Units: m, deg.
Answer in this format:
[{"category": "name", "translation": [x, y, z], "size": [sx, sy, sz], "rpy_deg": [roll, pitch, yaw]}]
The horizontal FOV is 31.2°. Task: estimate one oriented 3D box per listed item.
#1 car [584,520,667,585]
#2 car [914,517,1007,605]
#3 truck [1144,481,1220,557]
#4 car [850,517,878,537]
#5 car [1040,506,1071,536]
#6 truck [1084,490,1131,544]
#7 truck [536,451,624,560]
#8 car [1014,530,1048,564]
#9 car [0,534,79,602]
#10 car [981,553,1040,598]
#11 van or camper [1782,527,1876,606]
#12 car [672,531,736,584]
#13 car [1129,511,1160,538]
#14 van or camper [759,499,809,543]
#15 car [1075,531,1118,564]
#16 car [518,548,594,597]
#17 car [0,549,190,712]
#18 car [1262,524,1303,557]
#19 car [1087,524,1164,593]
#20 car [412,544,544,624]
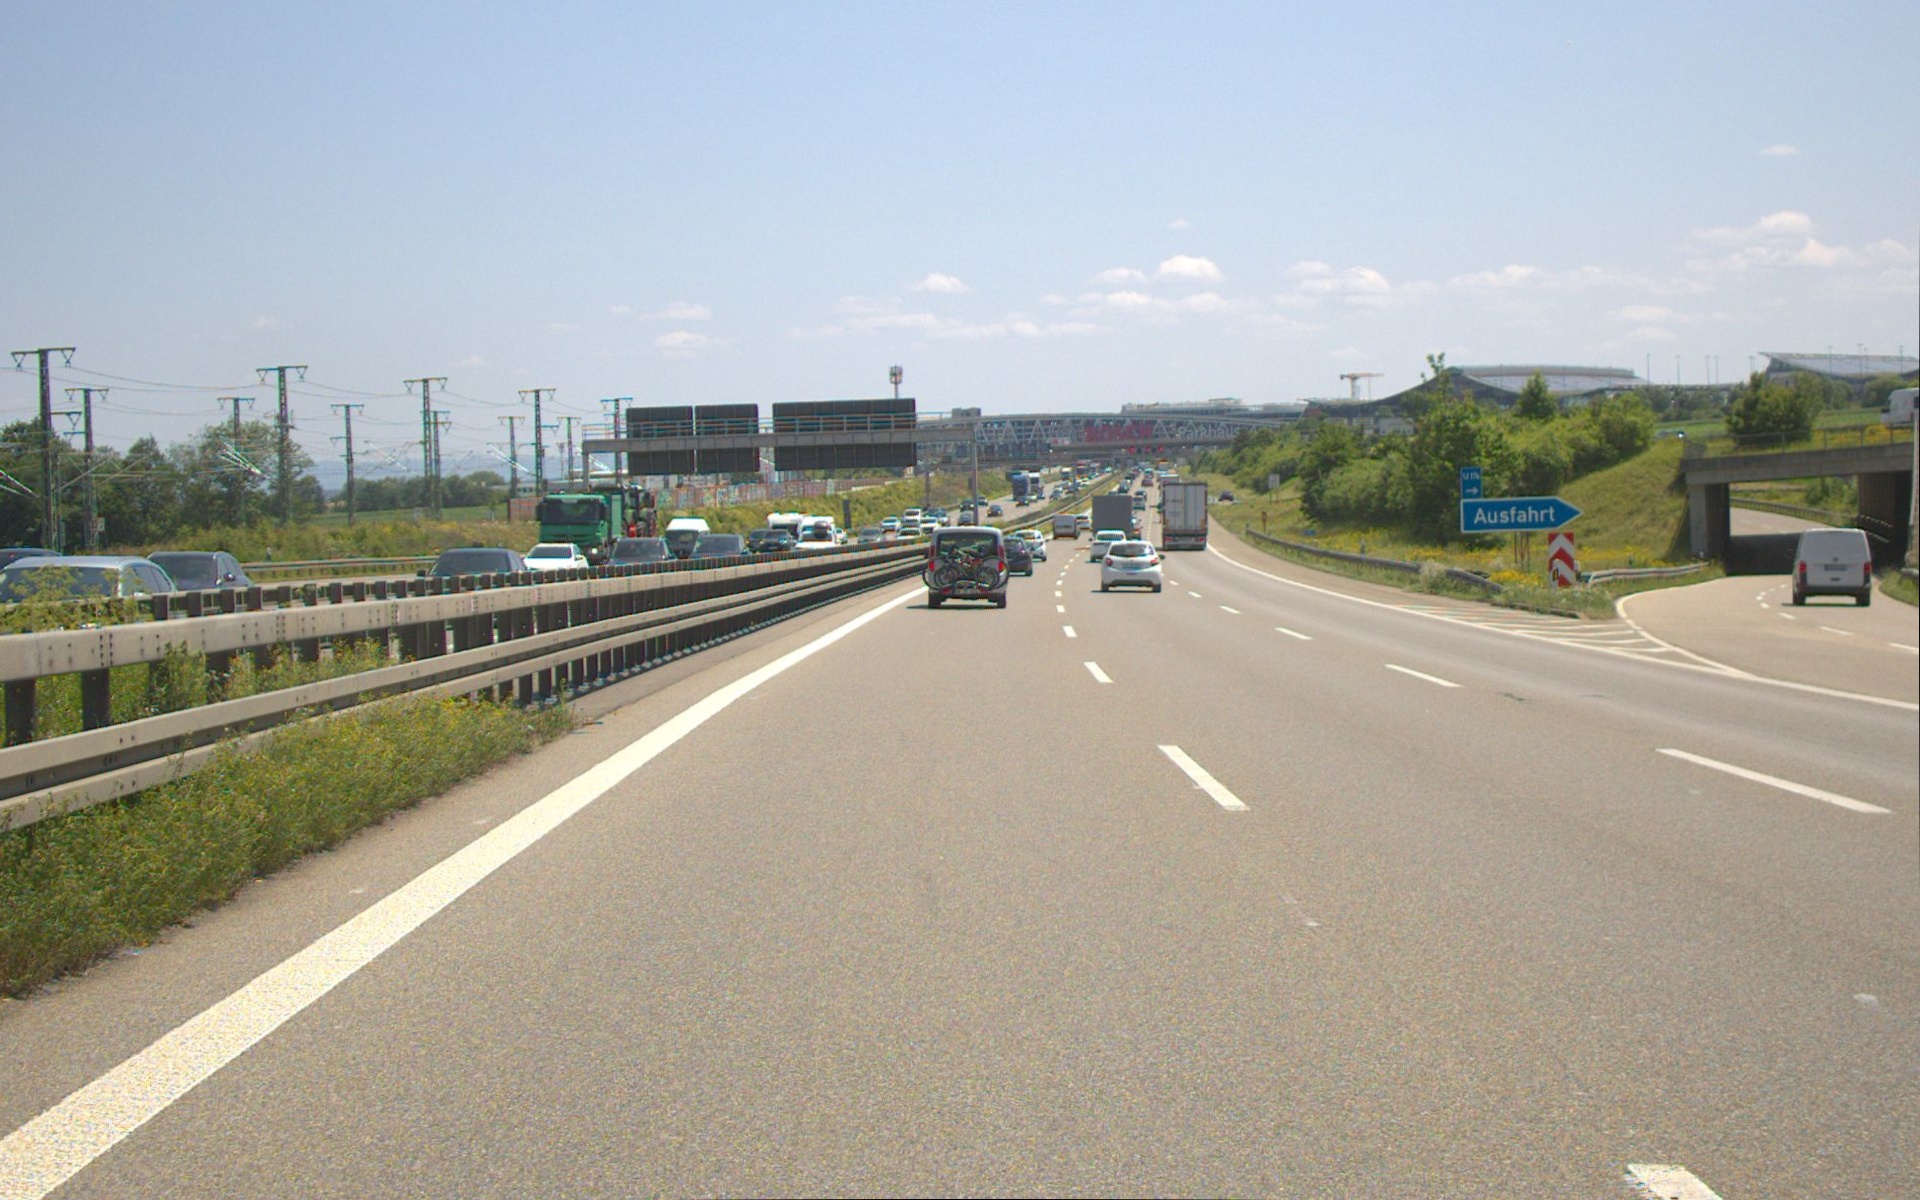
[{"category": "car", "translation": [-8.924, -1.271, 91.915], "size": [1.756, 1.663, 4.698], "rpy_deg": [1, 1, 0]}, {"category": "car", "translation": [0.046, -0.860, 77.736], "size": [1.927, 1.912, 4.948], "rpy_deg": [0, 0, 2]}, {"category": "truck", "translation": [13.162, -4.886, 205.170], "size": [4.039, 4.247, 11.758], "rpy_deg": [0, 3, 1]}, {"category": "car", "translation": [-6.554, -4.950, 233.943], "size": [1.693, 1.342, 4.000], "rpy_deg": [0, 1, 2]}, {"category": "car", "translation": [7.004, -5.828, 252.431], "size": [2.186, 1.996, 4.001], "rpy_deg": [1, 4, 0]}, {"category": "truck", "translation": [9.037, -5.065, 211.901], "size": [2.702, 3.098, 10.658], "rpy_deg": [0, 0, 1]}, {"category": "truck", "translation": [-15.308, -3.765, 139.057], "size": [2.759, 4.230, 6.978], "rpy_deg": [0, 0, 0]}, {"category": "car", "translation": [3.390, -2.504, 163.349], "size": [1.576, 1.547, 3.964], "rpy_deg": [0, 0, 2]}, {"category": "car", "translation": [-20.554, -0.715, 74.632], "size": [1.696, 1.420, 4.455], "rpy_deg": [0, 1, 0]}, {"category": "car", "translation": [1.873, -0.887, 126.078], "size": [1.927, 1.621, 4.517], "rpy_deg": [0, 0, 4]}, {"category": "van or camper", "translation": [22.562, -0.859, 89.405], "size": [2.157, 2.007, 4.302], "rpy_deg": [0, 0, 12]}, {"category": "car", "translation": [-8.505, -1.421, 114.528], "size": [1.756, 1.735, 4.721], "rpy_deg": [0, 1, 0]}, {"category": "car", "translation": [12.997, -5.326, 241.950], "size": [1.940, 1.759, 4.001], "rpy_deg": [1, 4, 0]}, {"category": "van or camper", "translation": [-10.911, -4.881, 213.742], "size": [2.517, 2.656, 8.064], "rpy_deg": [0, 1, 2]}, {"category": "car", "translation": [6.393, -2.455, 161.119], "size": [1.982, 1.468, 4.000], "rpy_deg": [0, 0, 2]}, {"category": "car", "translation": [-12.427, -0.862, 105.964], "size": [1.756, 1.476, 4.634], "rpy_deg": [0, 1, 0]}, {"category": "car", "translation": [-9.681, 0.259, 36.634], "size": [1.731, 1.583, 5.356], "rpy_deg": [0, 1, 0]}, {"category": "car", "translation": [18.914, -3.496, 201.985], "size": [1.926, 1.912, 4.518], "rpy_deg": [0, 1, 0]}, {"category": "car", "translation": [4.698, -1.164, 98.103], "size": [1.926, 1.912, 4.518], "rpy_deg": [0, 0, 0]}, {"category": "car", "translation": [-9.278, -0.338, 66.542], "size": [1.841, 1.455, 4.997], "rpy_deg": [0, 1, 0]}]
